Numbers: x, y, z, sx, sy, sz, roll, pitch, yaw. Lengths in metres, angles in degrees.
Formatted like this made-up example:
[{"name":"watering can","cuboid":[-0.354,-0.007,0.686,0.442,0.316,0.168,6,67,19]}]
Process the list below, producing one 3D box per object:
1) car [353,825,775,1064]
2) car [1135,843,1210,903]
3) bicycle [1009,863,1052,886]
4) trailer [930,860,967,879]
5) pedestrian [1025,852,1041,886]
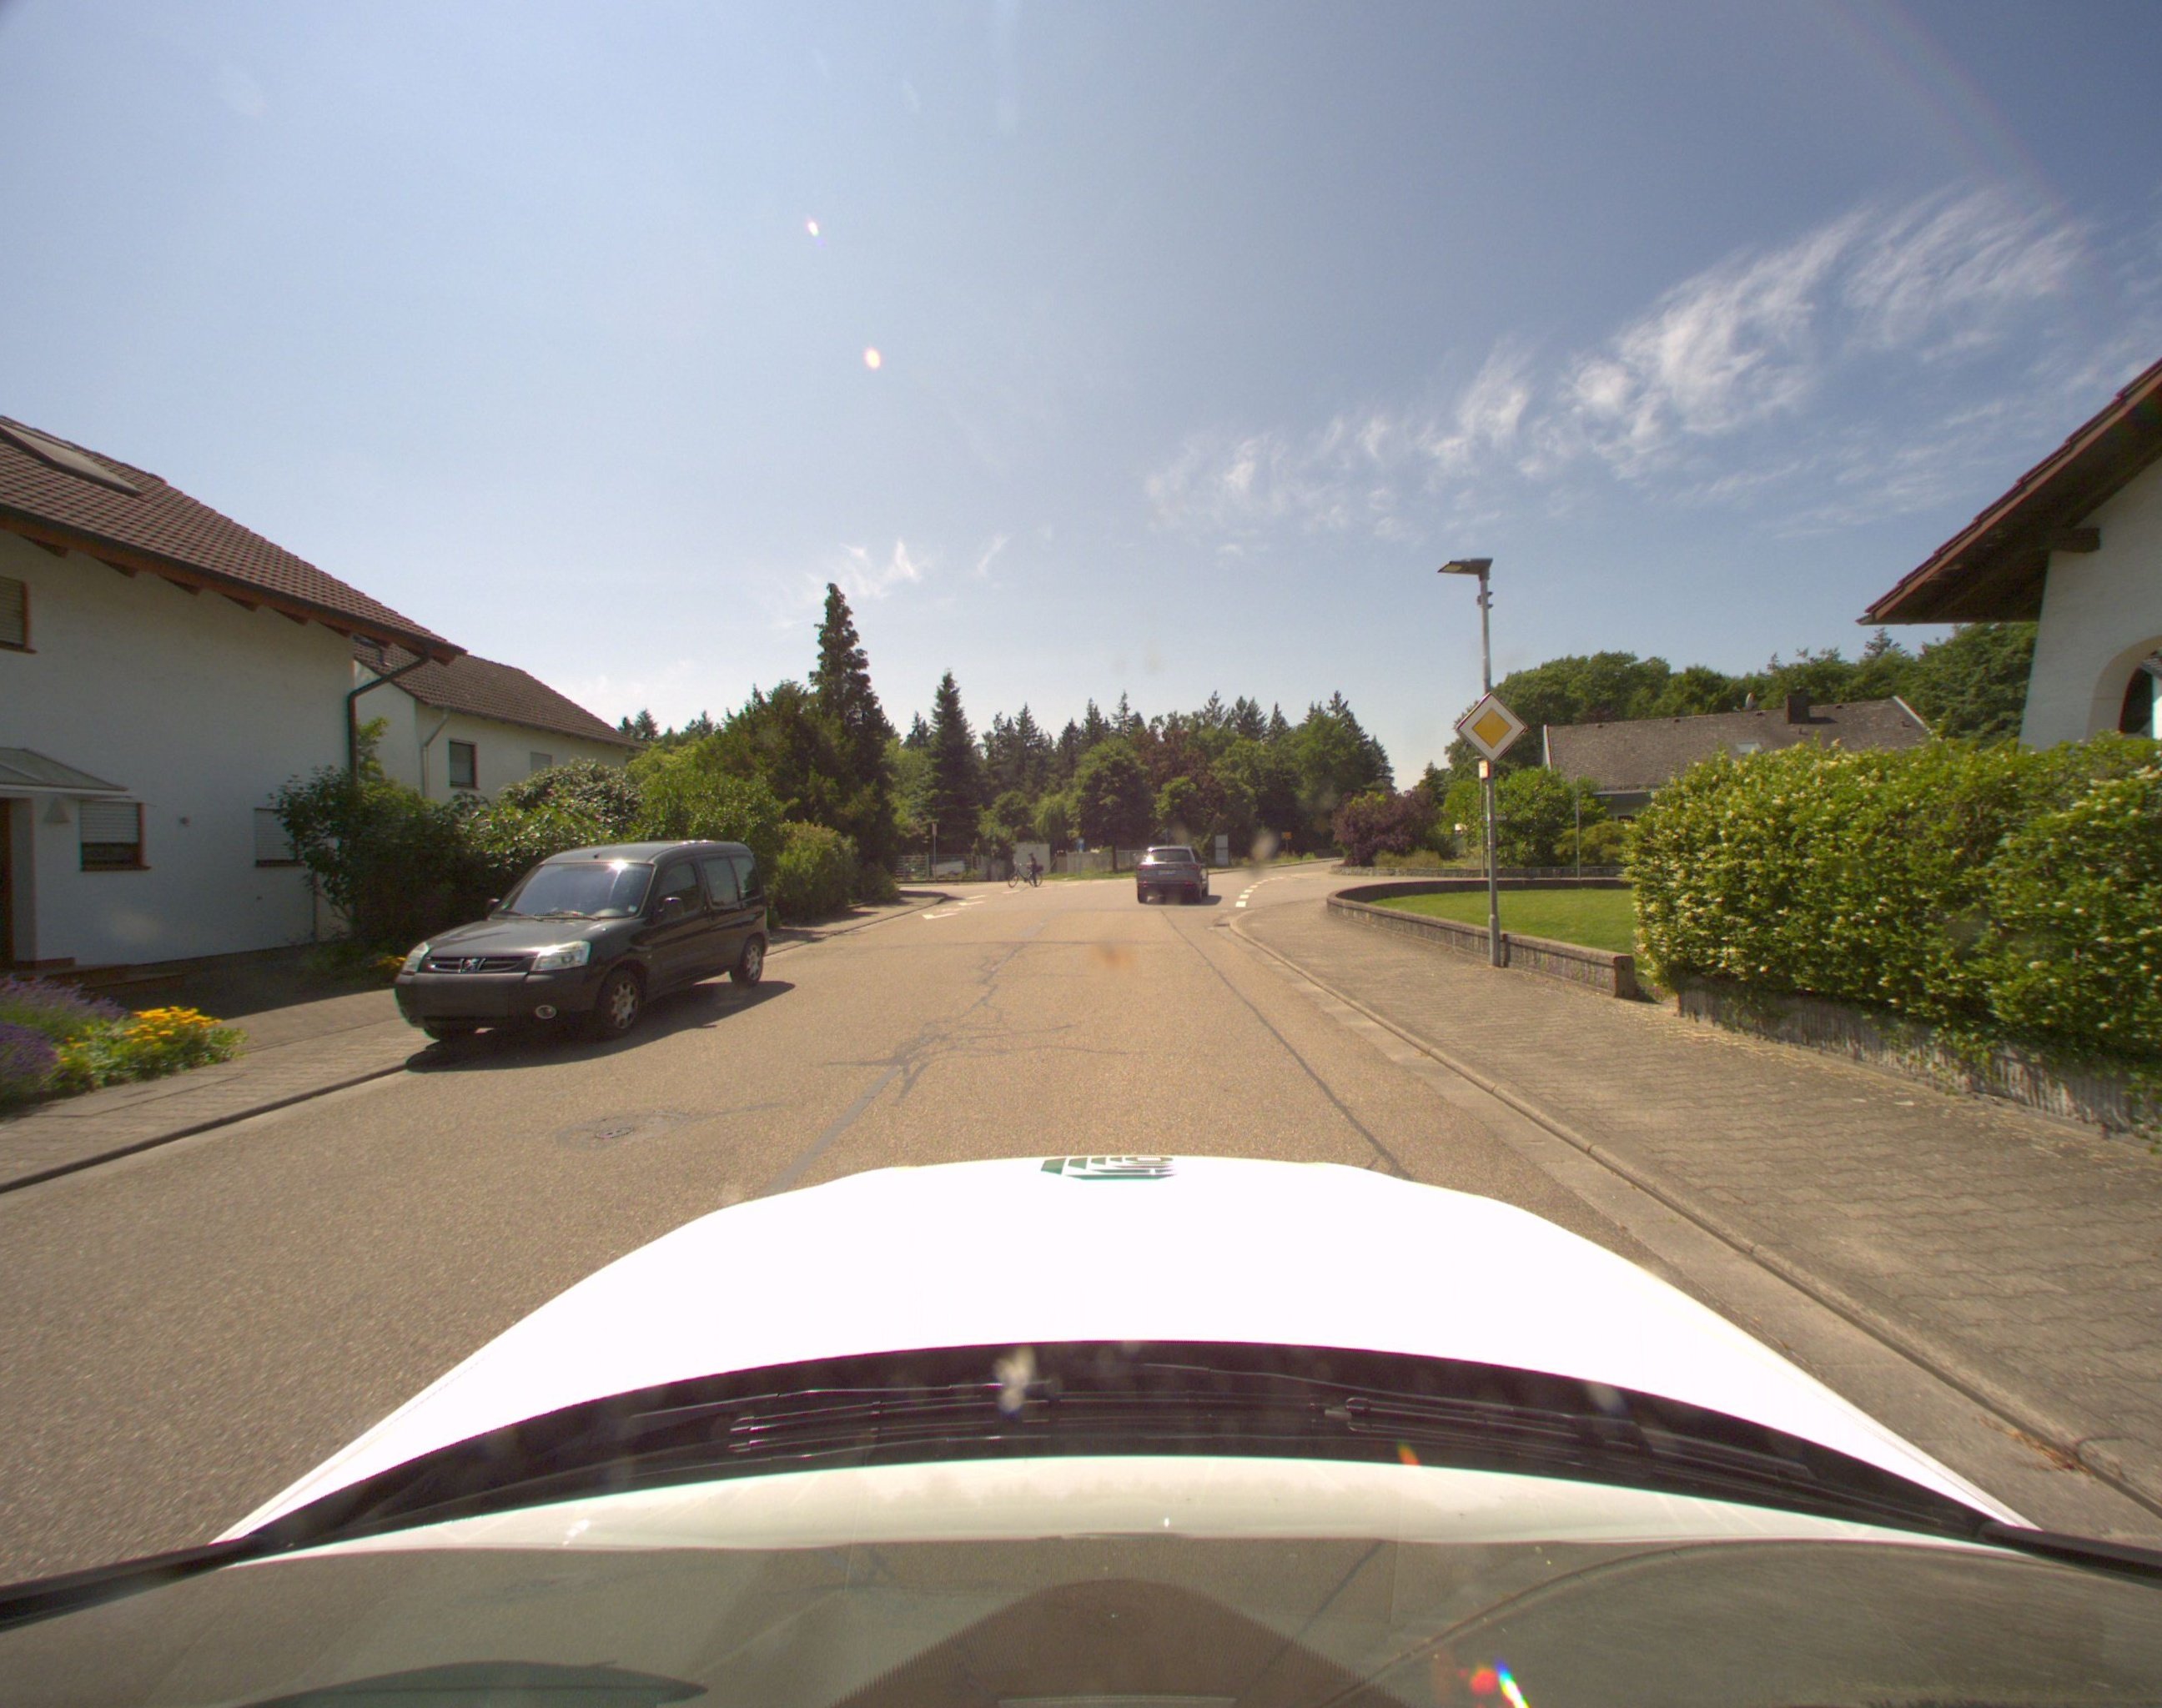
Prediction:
[{"name":"car","cuboid":[-4.854,0.711,8.472,1.712,1.846,4.055,-1,0,1]},{"name":"car","cuboid":[2.765,0.512,23.927,1.750,1.618,4.014,0,0,13]},{"name":"bicycle","cuboid":[-2.267,0.892,36.421,1.847,0.964,0.441,-2,0,-17]},{"name":"trailer","cuboid":[-8.320,0.982,51.292,2.212,1.084,1.104,-1,0,-6]},{"name":"pedestrian","cuboid":[-2.120,0.667,36.043,0.611,1.501,0.502,-1,0,-16]}]
